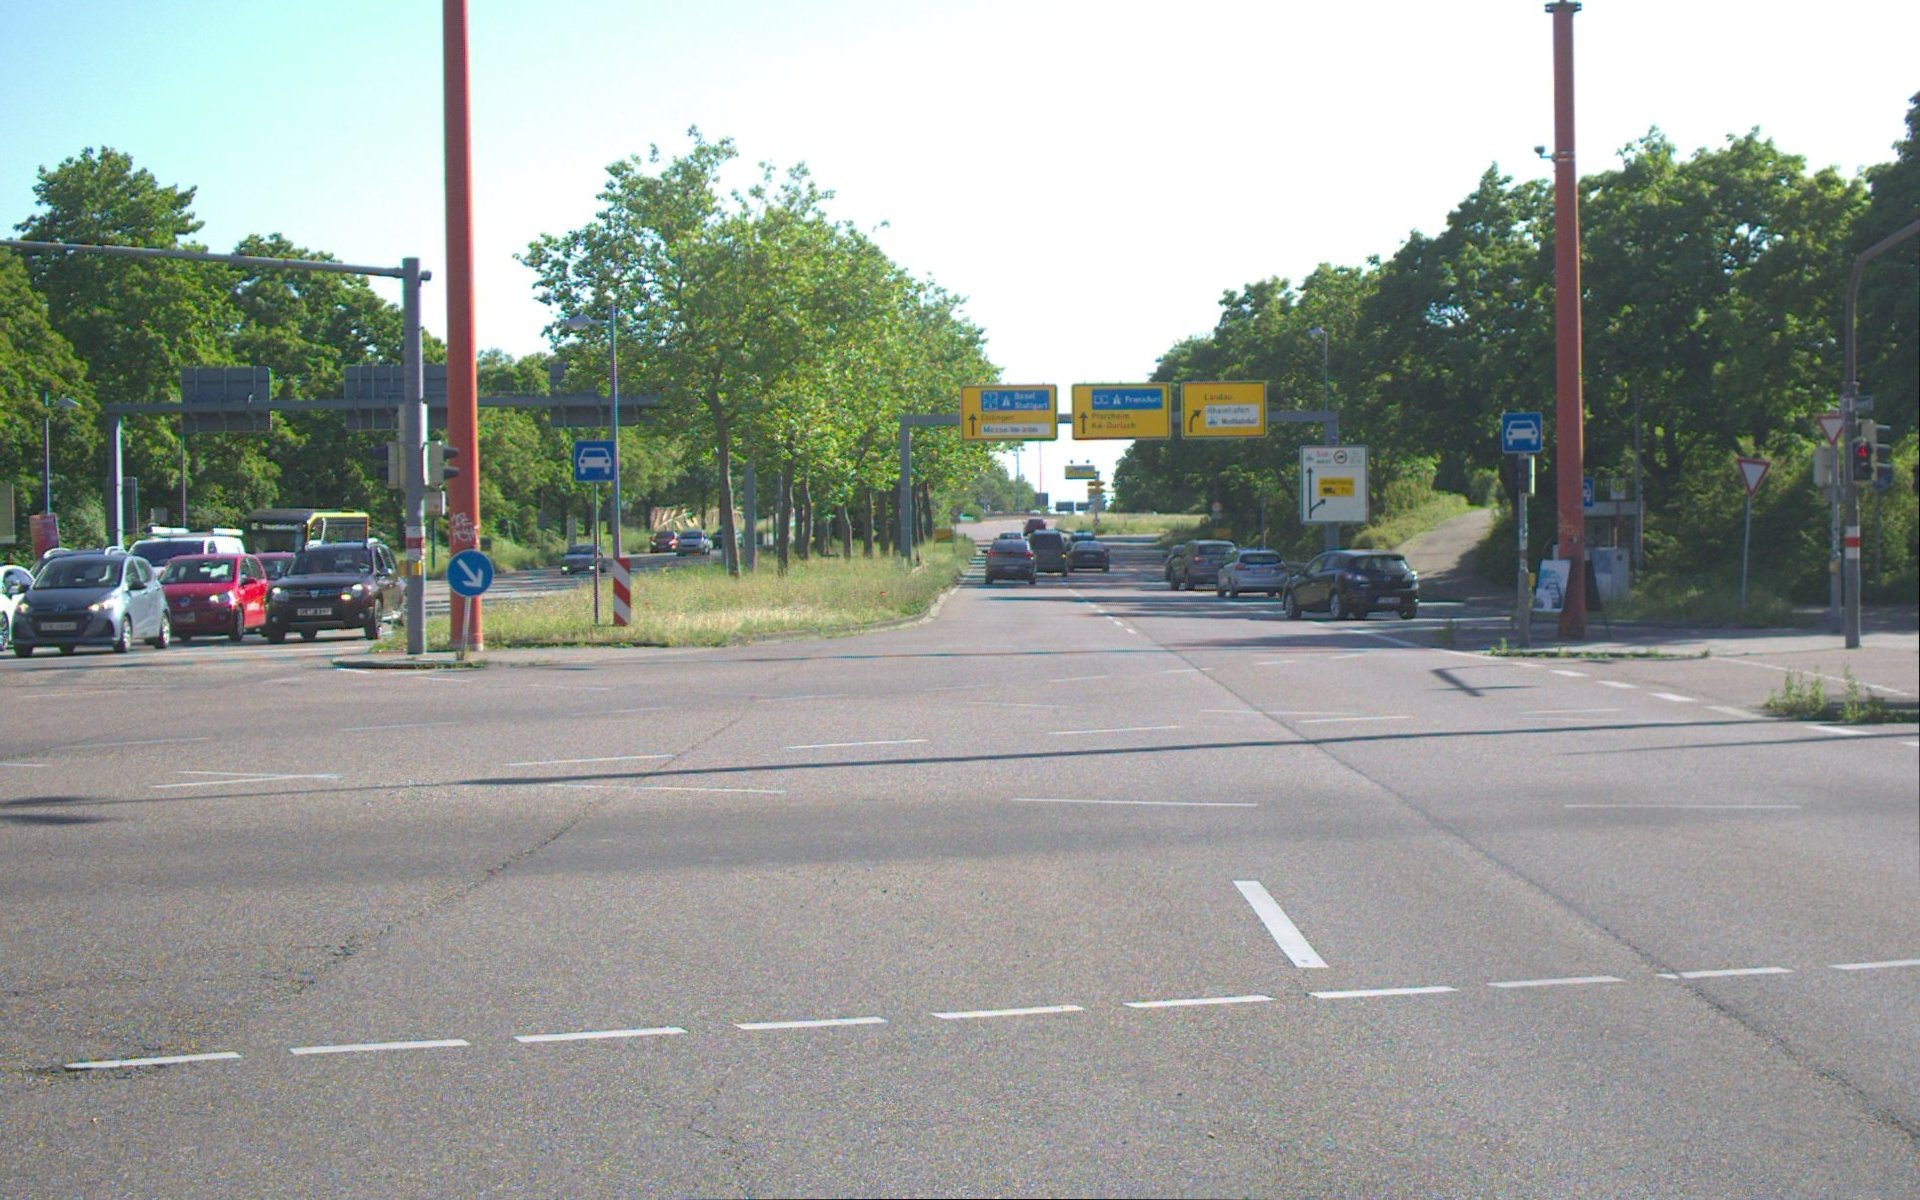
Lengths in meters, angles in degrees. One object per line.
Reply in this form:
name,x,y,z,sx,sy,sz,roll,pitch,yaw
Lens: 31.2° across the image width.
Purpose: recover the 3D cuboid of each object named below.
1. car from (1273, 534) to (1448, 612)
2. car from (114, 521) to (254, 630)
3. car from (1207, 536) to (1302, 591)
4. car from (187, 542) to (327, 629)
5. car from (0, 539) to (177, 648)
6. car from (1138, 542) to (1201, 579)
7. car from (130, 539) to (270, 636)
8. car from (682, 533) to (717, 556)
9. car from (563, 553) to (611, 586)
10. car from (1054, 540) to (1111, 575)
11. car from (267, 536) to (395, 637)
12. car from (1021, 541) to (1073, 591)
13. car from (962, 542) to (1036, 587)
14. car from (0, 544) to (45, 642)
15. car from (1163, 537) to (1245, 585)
car,8.371,-0.594,72.256,2.158,1.568,4.282,-1,1,-16
car,-16.104,-0.529,71.529,2.062,2.185,4.379,-1,1,-2
car,8.662,-1.095,101.456,2.158,1.568,4.281,-1,1,-4
car,-13.106,-0.297,64.268,1.993,1.568,4.121,-1,1,-4
car,-13.244,-0.132,52.187,1.993,1.568,4.121,-1,1,-3
car,8.346,-1.586,137.489,1.953,1.437,4.281,-1,1,-4
car,-12.889,-0.236,58.489,1.993,1.568,4.122,-1,1,-8
car,-16.499,-3.514,217.900,1.884,1.449,3.656,-1,1,0
car,-18.018,-1.479,166.177,1.993,1.568,4.121,-1,1,-3
car,5.573,-1.960,156.954,2.158,1.568,4.281,-1,1,-4
car,-10.238,-0.245,56.168,1.876,1.568,4.122,-1,1,-8
car,3.595,-1.422,142.927,1.993,2.007,4.000,-1,1,-1
car,1.380,-1.295,123.954,2.245,1.568,4.282,-1,1,-5
car,-16.479,-0.118,57.057,1.993,1.568,4.122,-2,1,-8
car,8.165,-1.328,115.449,2.158,1.568,4.281,-1,1,-4
